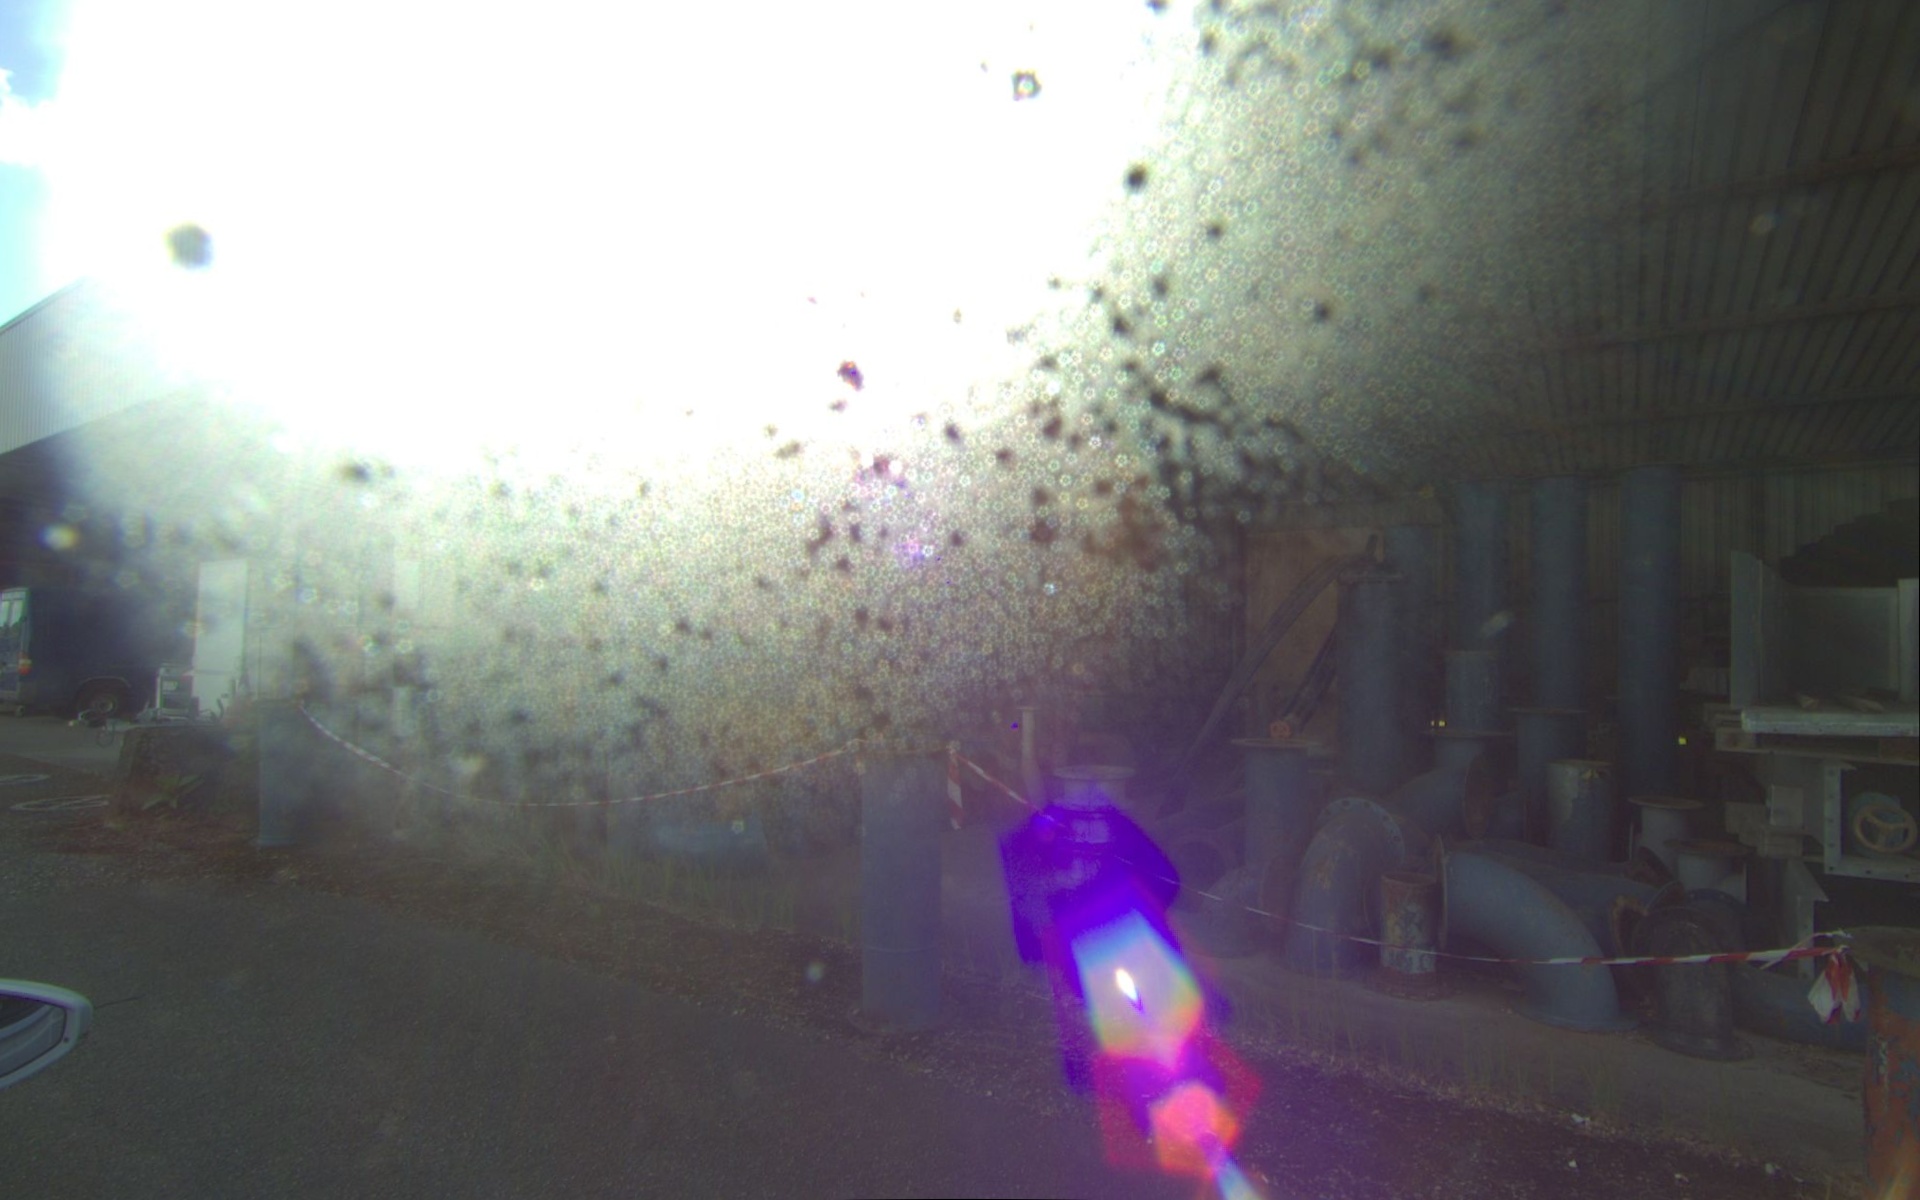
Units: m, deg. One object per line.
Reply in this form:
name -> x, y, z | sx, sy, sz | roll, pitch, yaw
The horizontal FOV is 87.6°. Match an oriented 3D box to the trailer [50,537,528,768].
trailer -> -8.375, 0.669, 12.968 | 1.804, 2.421, 4.796 | -1, -3, 38

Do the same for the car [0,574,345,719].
car -> -14.769, 0.900, 18.911 | 1.973, 2.354, 4.969 | -1, -3, 34

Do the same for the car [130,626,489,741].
car -> -9.822, 1.207, 15.498 | 1.751, 1.514, 4.324 | -1, -3, 31

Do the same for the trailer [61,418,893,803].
trailer -> -5.057, 0.318, 13.434 | 2.814, 3.256, 10.018 | -1, -3, 34

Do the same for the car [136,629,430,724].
car -> -11.920, 1.301, 17.917 | 1.761, 1.491, 3.985 | -1, -3, 29
